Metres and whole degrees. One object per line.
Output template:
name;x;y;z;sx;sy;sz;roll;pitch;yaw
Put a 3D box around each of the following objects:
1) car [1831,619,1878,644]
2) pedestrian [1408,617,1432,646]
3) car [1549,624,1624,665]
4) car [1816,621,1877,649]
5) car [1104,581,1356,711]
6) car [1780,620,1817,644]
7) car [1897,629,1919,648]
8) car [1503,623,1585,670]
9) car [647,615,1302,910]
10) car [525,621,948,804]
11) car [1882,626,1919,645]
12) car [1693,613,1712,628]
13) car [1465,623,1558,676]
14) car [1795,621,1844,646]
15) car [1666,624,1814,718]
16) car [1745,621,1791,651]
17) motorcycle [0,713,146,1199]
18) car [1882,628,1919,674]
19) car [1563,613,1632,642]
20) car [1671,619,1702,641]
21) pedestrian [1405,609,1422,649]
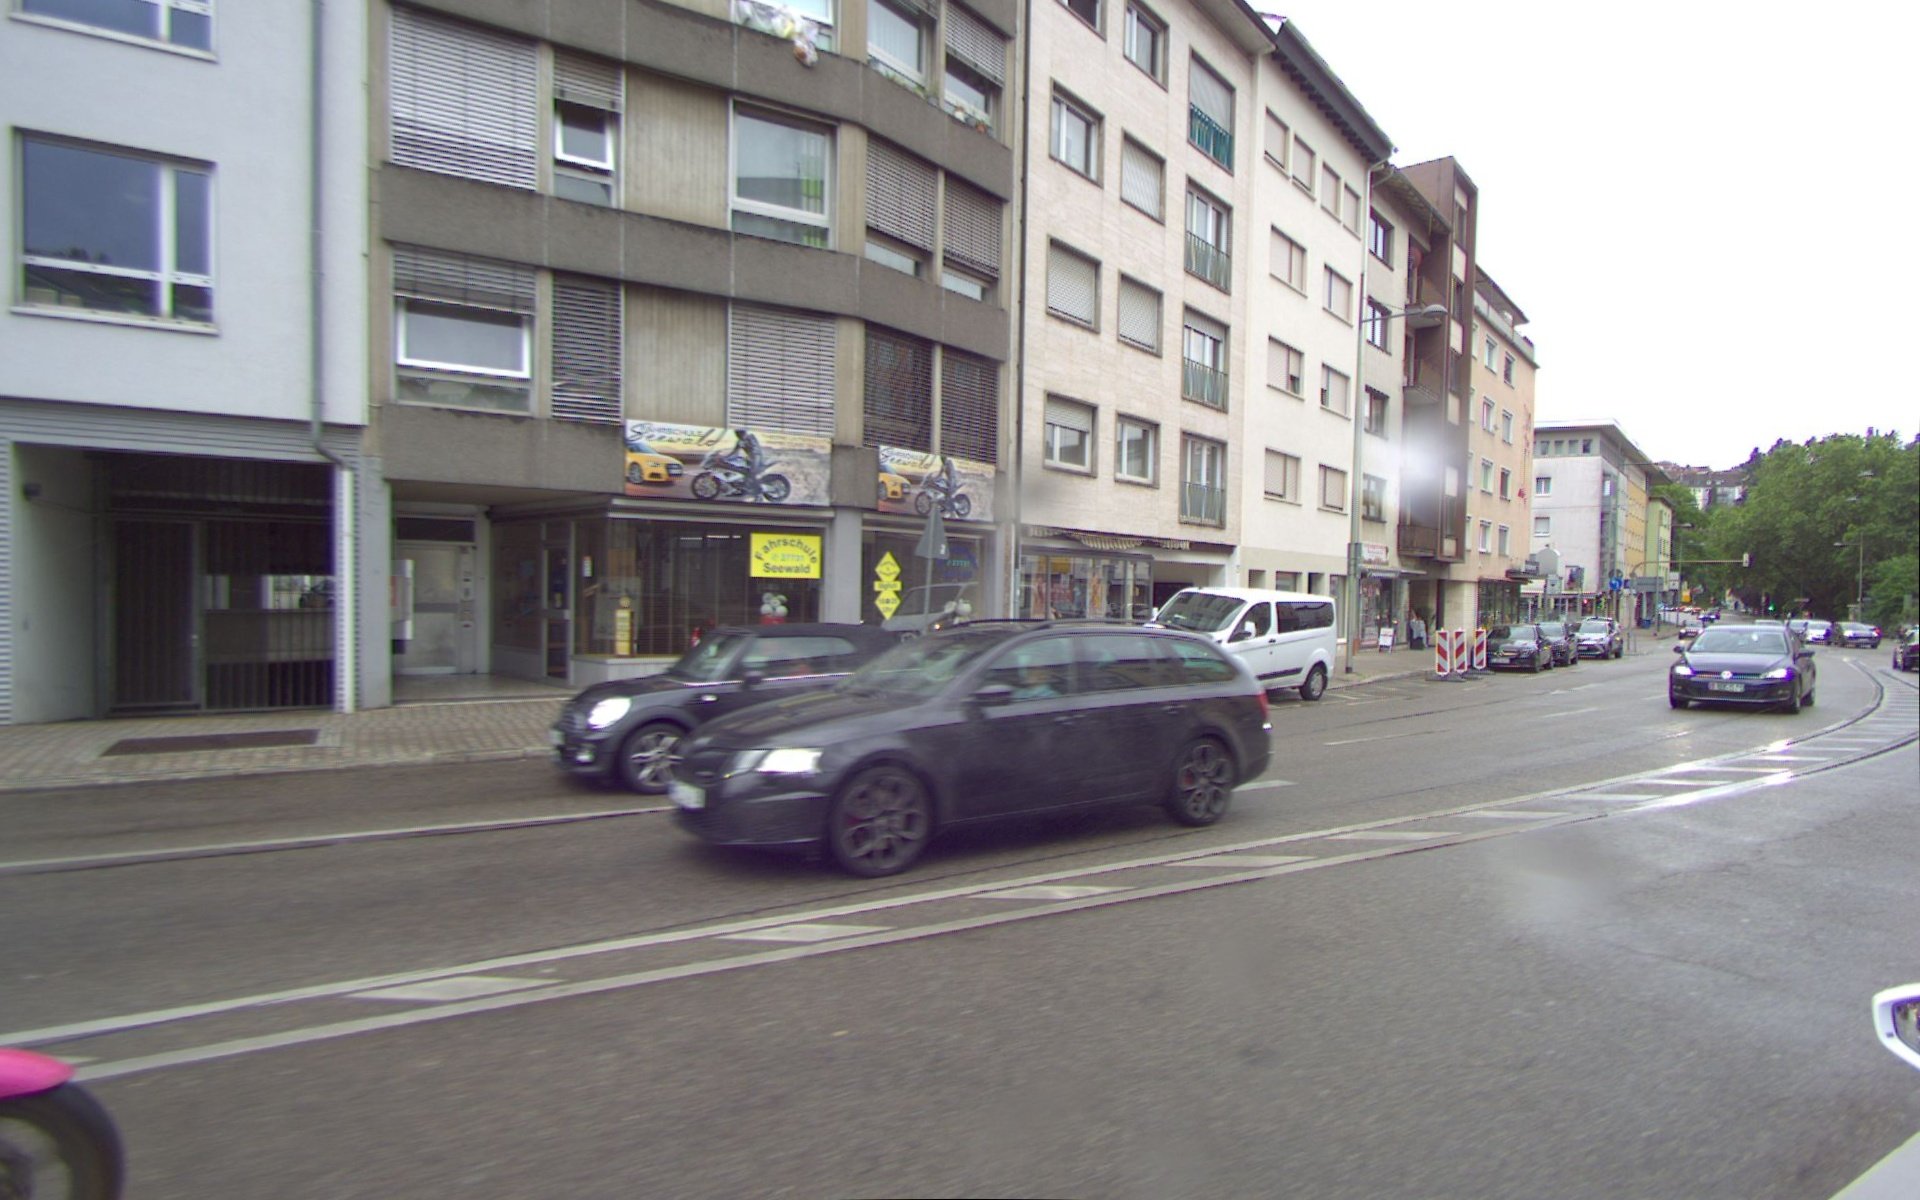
car;66.911;2.335;75.206;1.966;1.550;3.989;4;2;33
pedestrian;19.494;1.322;42.589;0.586;1.163;0.671;2;1;-22
car;26.046;1.828;41.695;1.886;1.575;4.606;1;-1;42
car;55.550;2.157;63.017;1.827;1.574;4.221;2;0;27
car;5.243;0.847;19.065;5.092;2.041;2.099;3;2;-43
car;60.998;2.343;73.099;1.797;1.630;4.414;2;0;37
car;77.339;3.123;80.863;1.748;1.420;4.571;0;0;30
car;20.850;1.597;35.758;1.968;1.497;4.501;1;0;37
car;0.289;0.872;7.194;4.444;1.478;1.969;1;-1;-37
car;-2.059;0.924;9.543;3.557;1.418;1.711;1;-1;-34
car;80.830;3.046;86.328;1.691;1.461;4.070;0;0;33
car;107.899;2.958;145.988;1.969;1.885;3.983;5;3;38
car;17.376;1.493;31.520;1.858;1.496;4.960;0;-1;37
car;58.046;2.255;67.908;1.907;1.547;4.124;2;0;33
car;13.998;1.173;17.947;1.666;1.492;3.975;-1;-2;44
car;47.282;2.079;58.836;1.838;1.669;4.239;1;-1;36
motorcycle;-2.590;0.864;1.530;2.084;1.207;0.582;1;0;-39
car;33.547;1.778;34.739;1.969;1.406;4.481;5;3;38
car;44.379;1.924;69.968;3.931;1.729;1.682;3;2;-13
car;55.883;2.312;77.244;1.672;1.648;3.982;1;-1;40
pedestrian;18.474;1.186;40.888;0.534;1.604;0.669;3;1;27
